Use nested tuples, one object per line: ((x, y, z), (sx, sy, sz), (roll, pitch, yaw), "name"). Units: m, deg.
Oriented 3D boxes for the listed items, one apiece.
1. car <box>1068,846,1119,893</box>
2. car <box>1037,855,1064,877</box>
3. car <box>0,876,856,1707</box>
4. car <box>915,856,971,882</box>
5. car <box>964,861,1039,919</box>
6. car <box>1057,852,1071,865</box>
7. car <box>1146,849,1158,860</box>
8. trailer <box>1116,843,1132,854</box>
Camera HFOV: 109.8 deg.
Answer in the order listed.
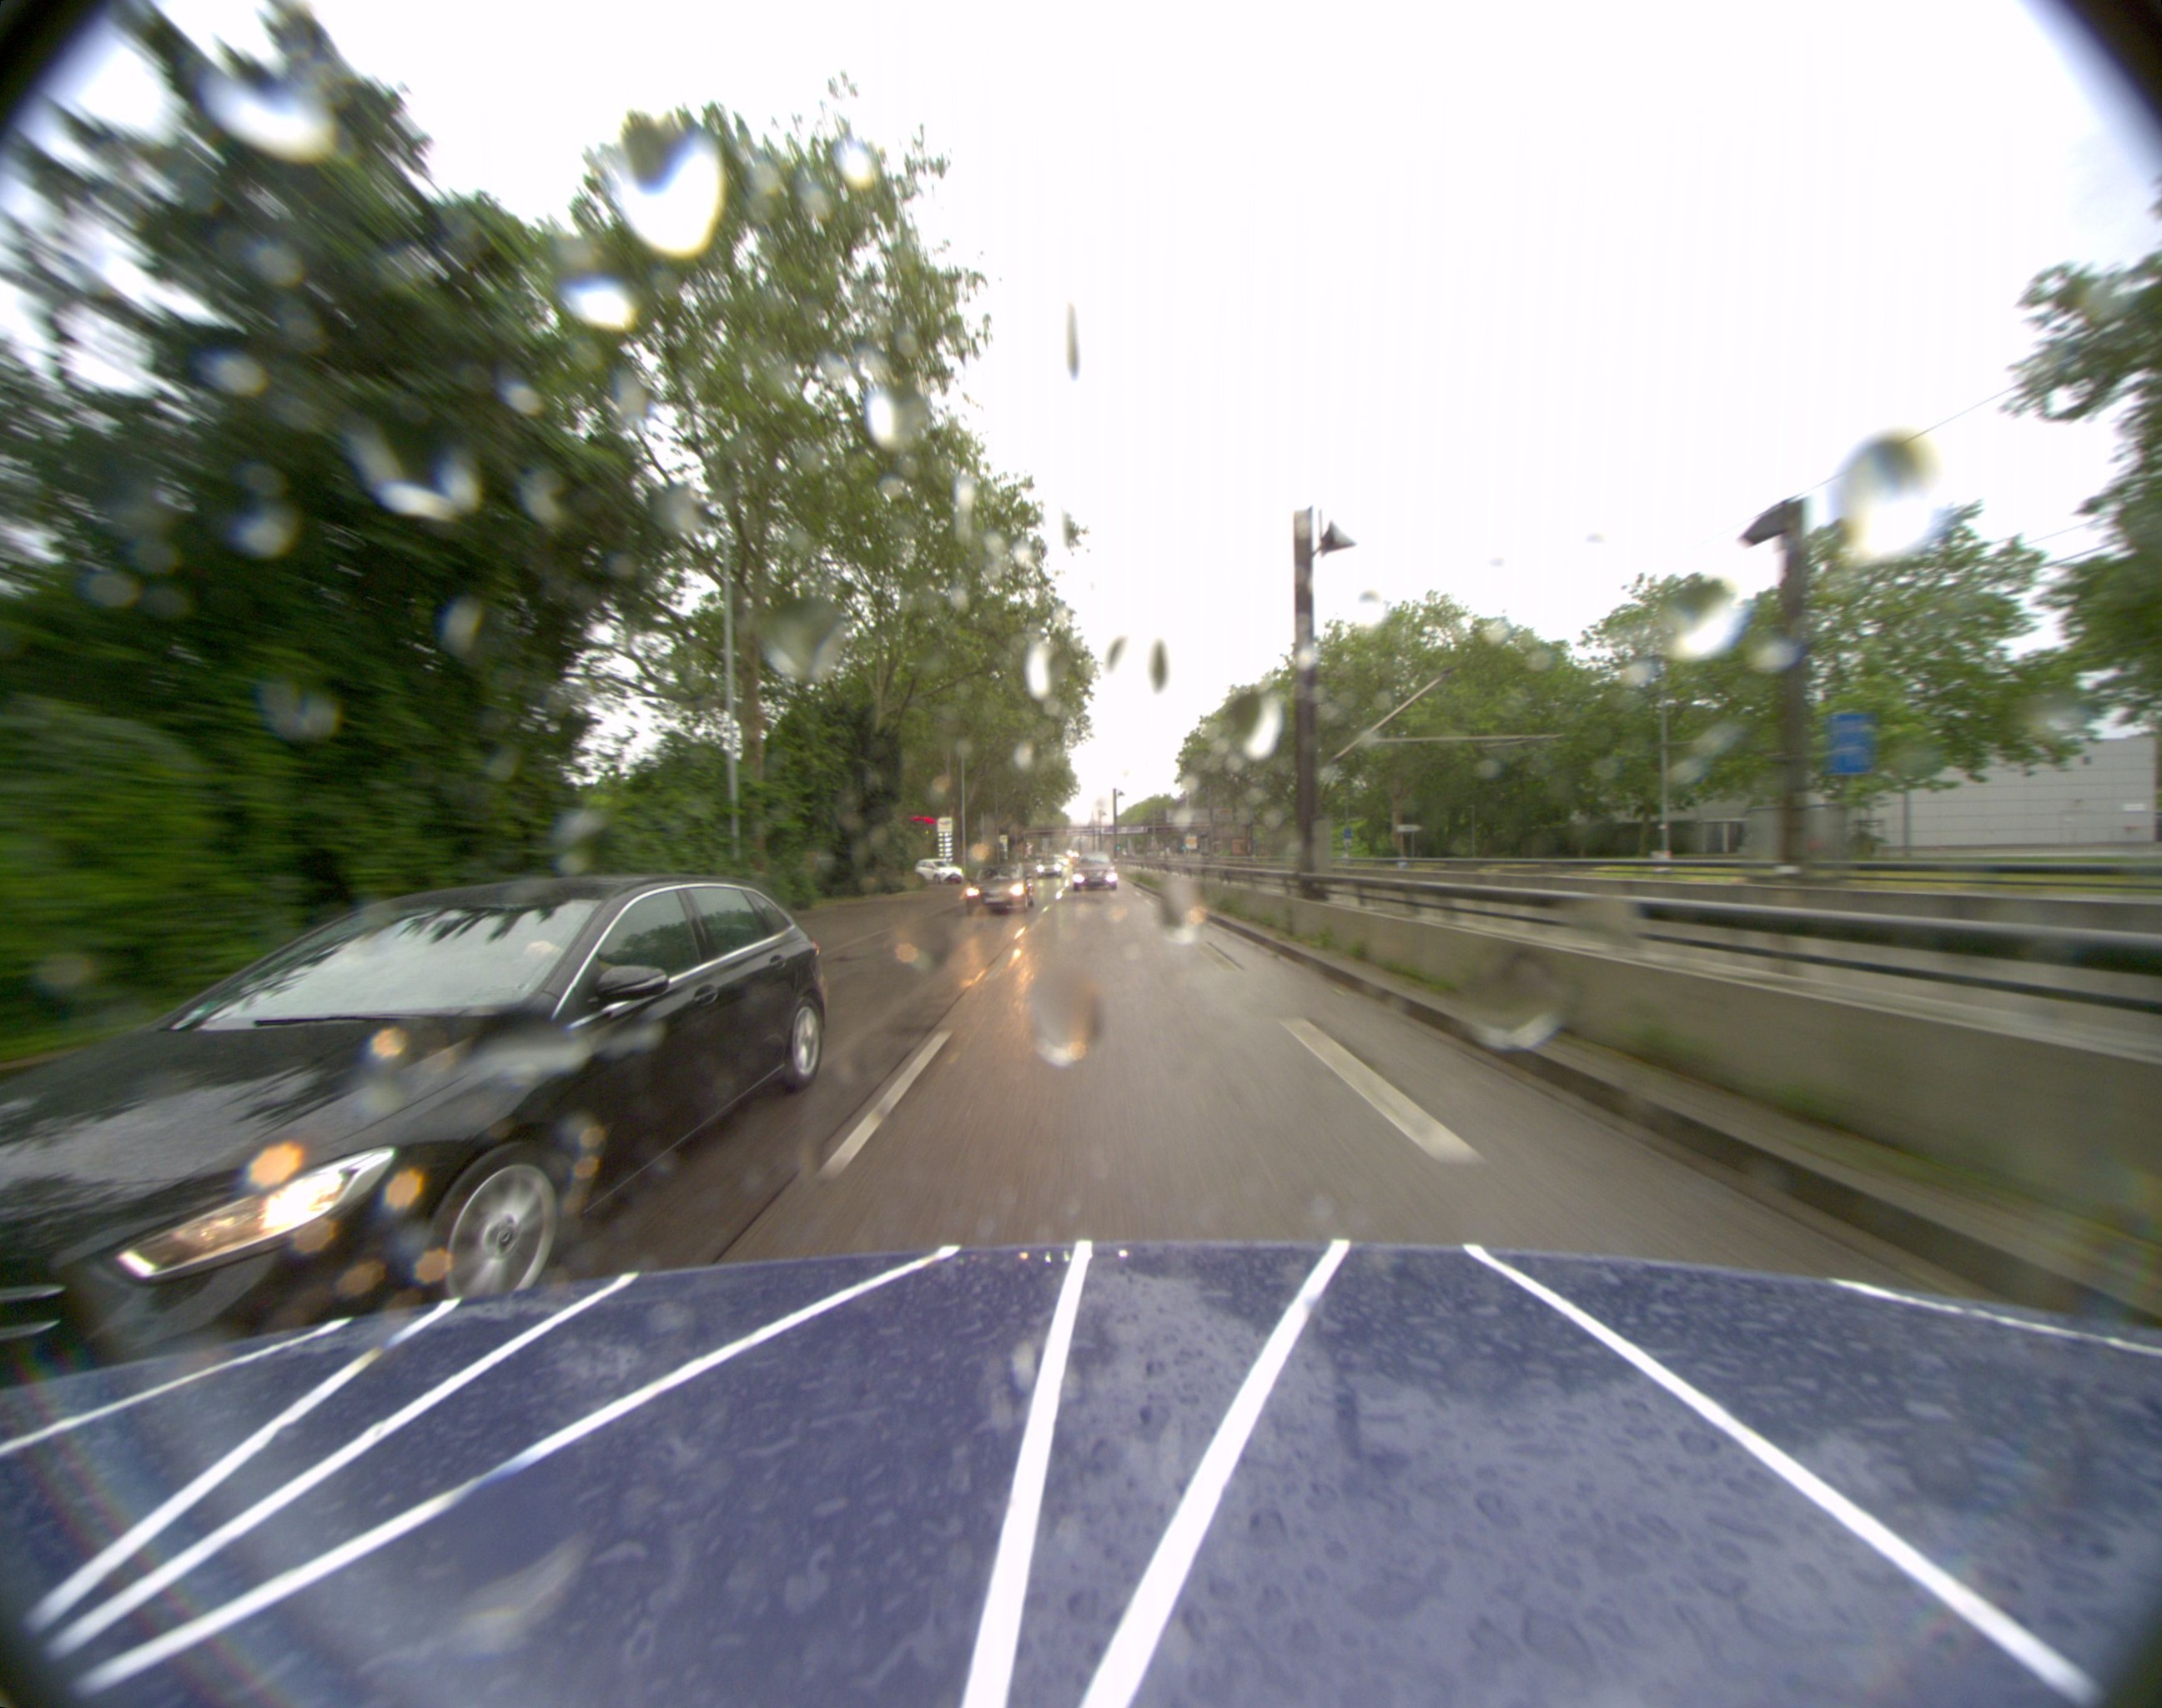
((0.592, 0.643, 32.897), (1.975, 1.794, 4.159), (-3, 0, 2), "car")
((-2.270, 0.851, 56.668), (1.821, 1.520, 4.158), (-2, 0, 0), "car")
((-2.777, 1.012, 3.622), (1.821, 1.521, 4.422), (-3, 1, 3), "car")
((-8.307, 0.921, 45.574), (1.611, 1.423, 3.547), (-4, 1, -41), "car")
((-2.245, 0.994, 22.458), (1.641, 1.377, 3.782), (-3, 1, 2), "car")
((-2.293, 0.570, 105.332), (1.869, 1.689, 4.425), (-2, 0, -1), "car")
((14.867, 0.085, 159.337), (1.999, 2.002, 4.509), (-4, 1, -1), "car")
((14.323, -1.865, 254.356), (3.332, 3.241, 11.116), (-4, 1, -5), "trailer")
